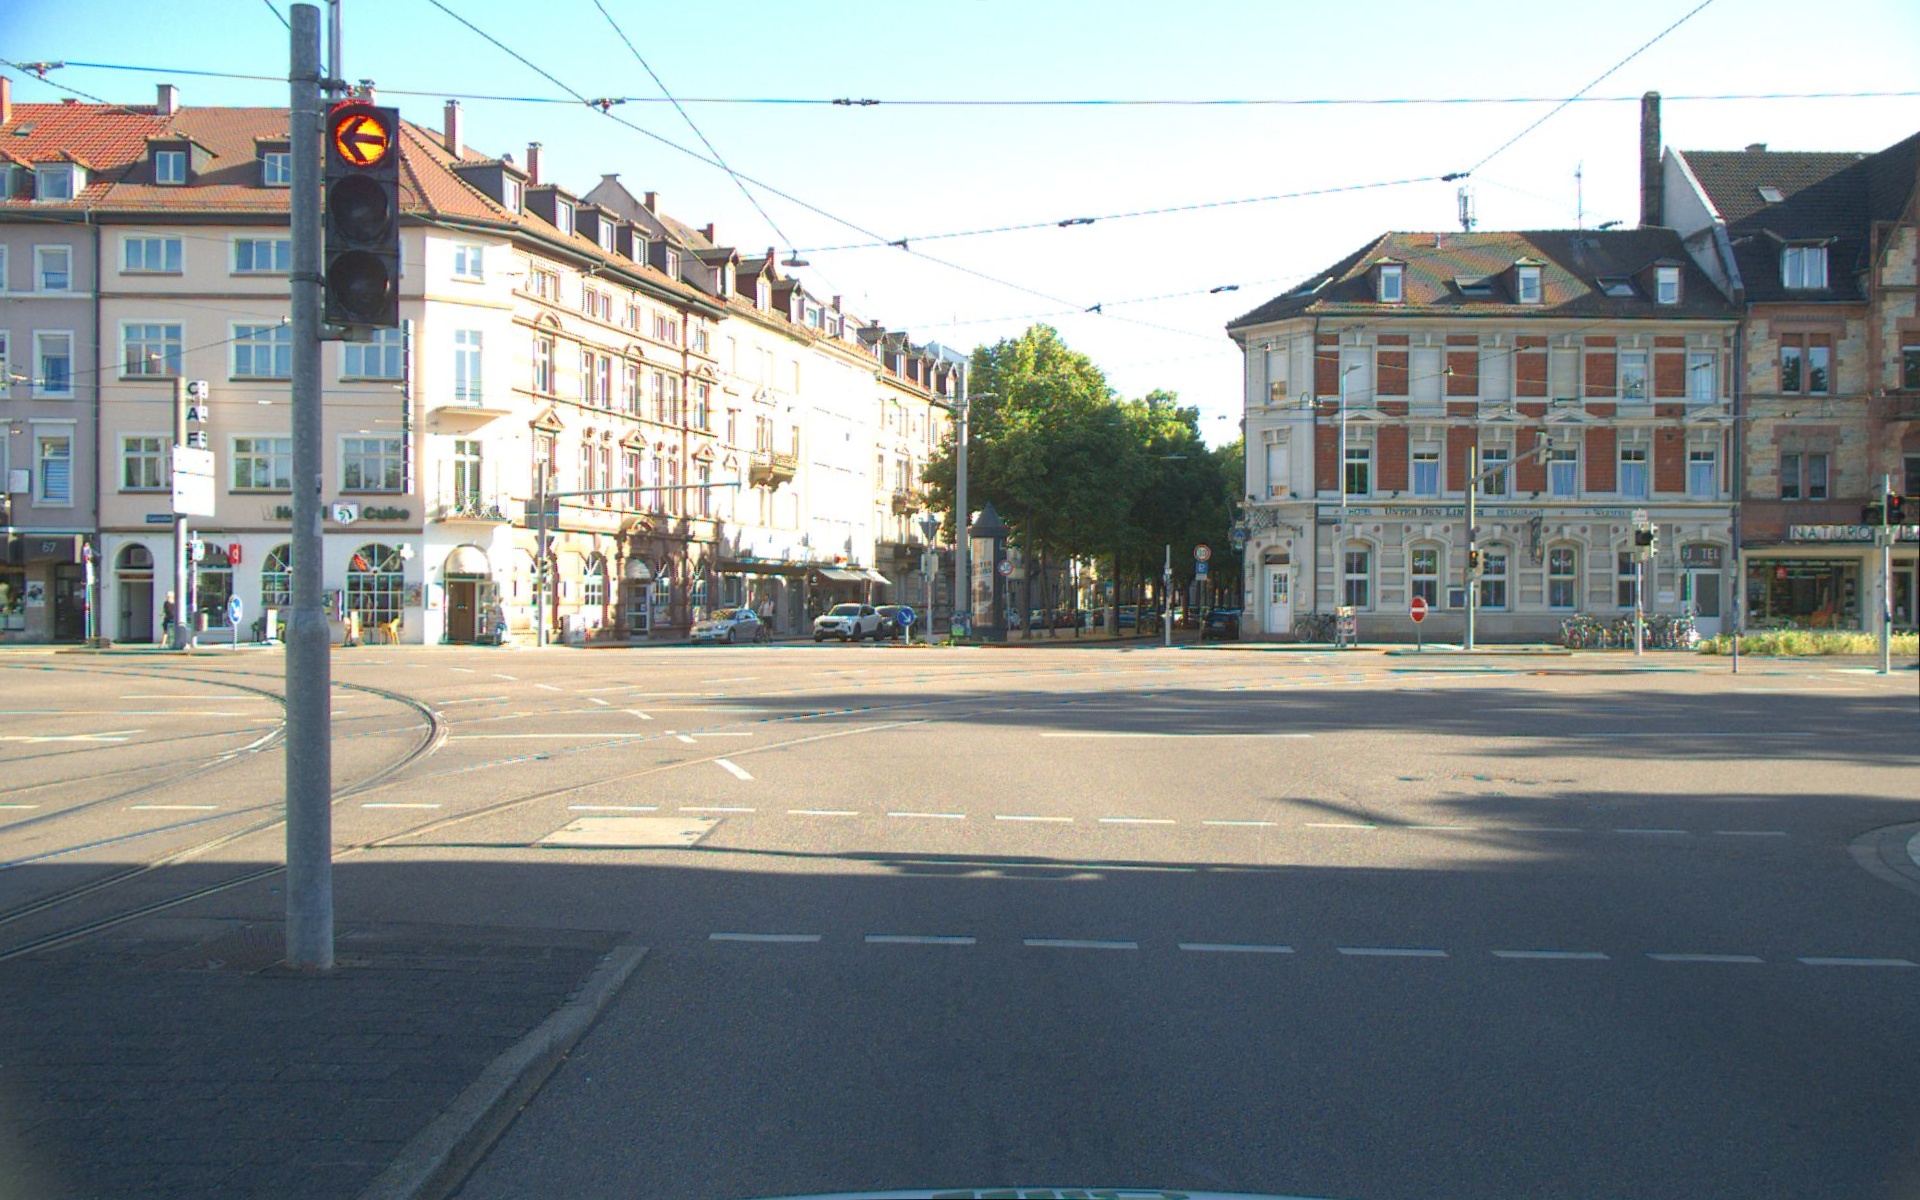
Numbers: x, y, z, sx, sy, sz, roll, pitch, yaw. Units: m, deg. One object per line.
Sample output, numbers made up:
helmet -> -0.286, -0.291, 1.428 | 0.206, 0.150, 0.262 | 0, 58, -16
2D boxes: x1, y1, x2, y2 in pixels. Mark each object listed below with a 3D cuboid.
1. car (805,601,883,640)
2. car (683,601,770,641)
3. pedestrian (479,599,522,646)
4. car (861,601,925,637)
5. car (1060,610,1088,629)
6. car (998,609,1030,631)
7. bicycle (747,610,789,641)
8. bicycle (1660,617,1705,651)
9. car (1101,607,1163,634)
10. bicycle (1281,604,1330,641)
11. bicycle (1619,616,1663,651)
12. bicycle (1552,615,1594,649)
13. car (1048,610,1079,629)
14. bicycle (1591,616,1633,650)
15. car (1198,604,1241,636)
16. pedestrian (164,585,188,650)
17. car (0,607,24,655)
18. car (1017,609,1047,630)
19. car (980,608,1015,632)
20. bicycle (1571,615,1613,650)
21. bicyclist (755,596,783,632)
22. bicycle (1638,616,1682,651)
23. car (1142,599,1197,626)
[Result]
car -> -4.652, 0.795, 67.078 | 2.052, 1.525, 4.003 | 0, 0, 13
car -> -9.451, 0.817, 67.220 | 2.052, 1.572, 4.367 | 0, 0, 13
pedestrian -> -15.911, 0.777, 57.287 | 1.019, 1.618, 1.067 | 0, 0, 28
car -> -2.959, 0.803, 73.471 | 1.951, 1.540, 4.004 | 0, 0, 11
car -> 9.425, 1.587, 136.500 | 1.704, 1.422, 4.127 | 3, 0, 13
car -> 3.806, 1.368, 115.838 | 1.704, 1.422, 4.127 | 3, 0, 9
bicycle -> -7.575, 0.999, 65.494 | 0.734, 1.155, 2.812 | 0, 0, 14
bicycle -> 23.328, 1.089, 53.420 | 0.593, 1.069, 1.641 | 0, 0, -6
car -> 12.007, 1.413, 115.382 | 4.024, 1.675, 1.748 | 3, 0, 15
bicycle -> 11.974, 0.768, 57.300 | 1.603, 1.243, 0.607 | 0, 0, 16
bicycle -> 21.942, 1.065, 53.323 | 0.593, 1.069, 1.641 | 0, 0, -6
bicycle -> 19.823, 1.029, 53.509 | 0.593, 1.069, 1.641 | 0, 0, -6
car -> 8.248, 1.551, 131.704 | 1.704, 1.422, 4.127 | 3, 0, 13
bicycle -> 21.116, 1.052, 53.590 | 0.593, 1.069, 1.641 | 0, 0, -6
car -> 12.974, 1.010, 82.463 | 1.616, 1.551, 3.755 | 0, -1, 17
pedestrian -> -24.668, 0.542, 52.035 | 0.498, 2.049, 0.505 | 0, 0, 2
car -> -32.065, 1.001, 52.156 | 3.910, 1.489, 1.998 | -1, 1, -6
car -> 5.338, 1.425, 122.838 | 1.704, 1.422, 4.127 | 3, 0, 9
car -> 2.529, 1.320, 110.015 | 1.704, 1.422, 4.127 | 3, 0, 9
bicycle -> 20.464, 1.040, 53.565 | 0.593, 1.069, 1.641 | 0, 0, -6
bicyclist -> -7.560, 0.548, 65.464 | 0.776, 1.399, 1.109 | 0, 0, 14
bicycle -> 22.602, 1.076, 53.398 | 0.593, 1.069, 1.641 | 0, 0, -6
car -> 16.962, 1.026, 133.662 | 4.026, 1.952, 1.746 | 3, 0, 21
